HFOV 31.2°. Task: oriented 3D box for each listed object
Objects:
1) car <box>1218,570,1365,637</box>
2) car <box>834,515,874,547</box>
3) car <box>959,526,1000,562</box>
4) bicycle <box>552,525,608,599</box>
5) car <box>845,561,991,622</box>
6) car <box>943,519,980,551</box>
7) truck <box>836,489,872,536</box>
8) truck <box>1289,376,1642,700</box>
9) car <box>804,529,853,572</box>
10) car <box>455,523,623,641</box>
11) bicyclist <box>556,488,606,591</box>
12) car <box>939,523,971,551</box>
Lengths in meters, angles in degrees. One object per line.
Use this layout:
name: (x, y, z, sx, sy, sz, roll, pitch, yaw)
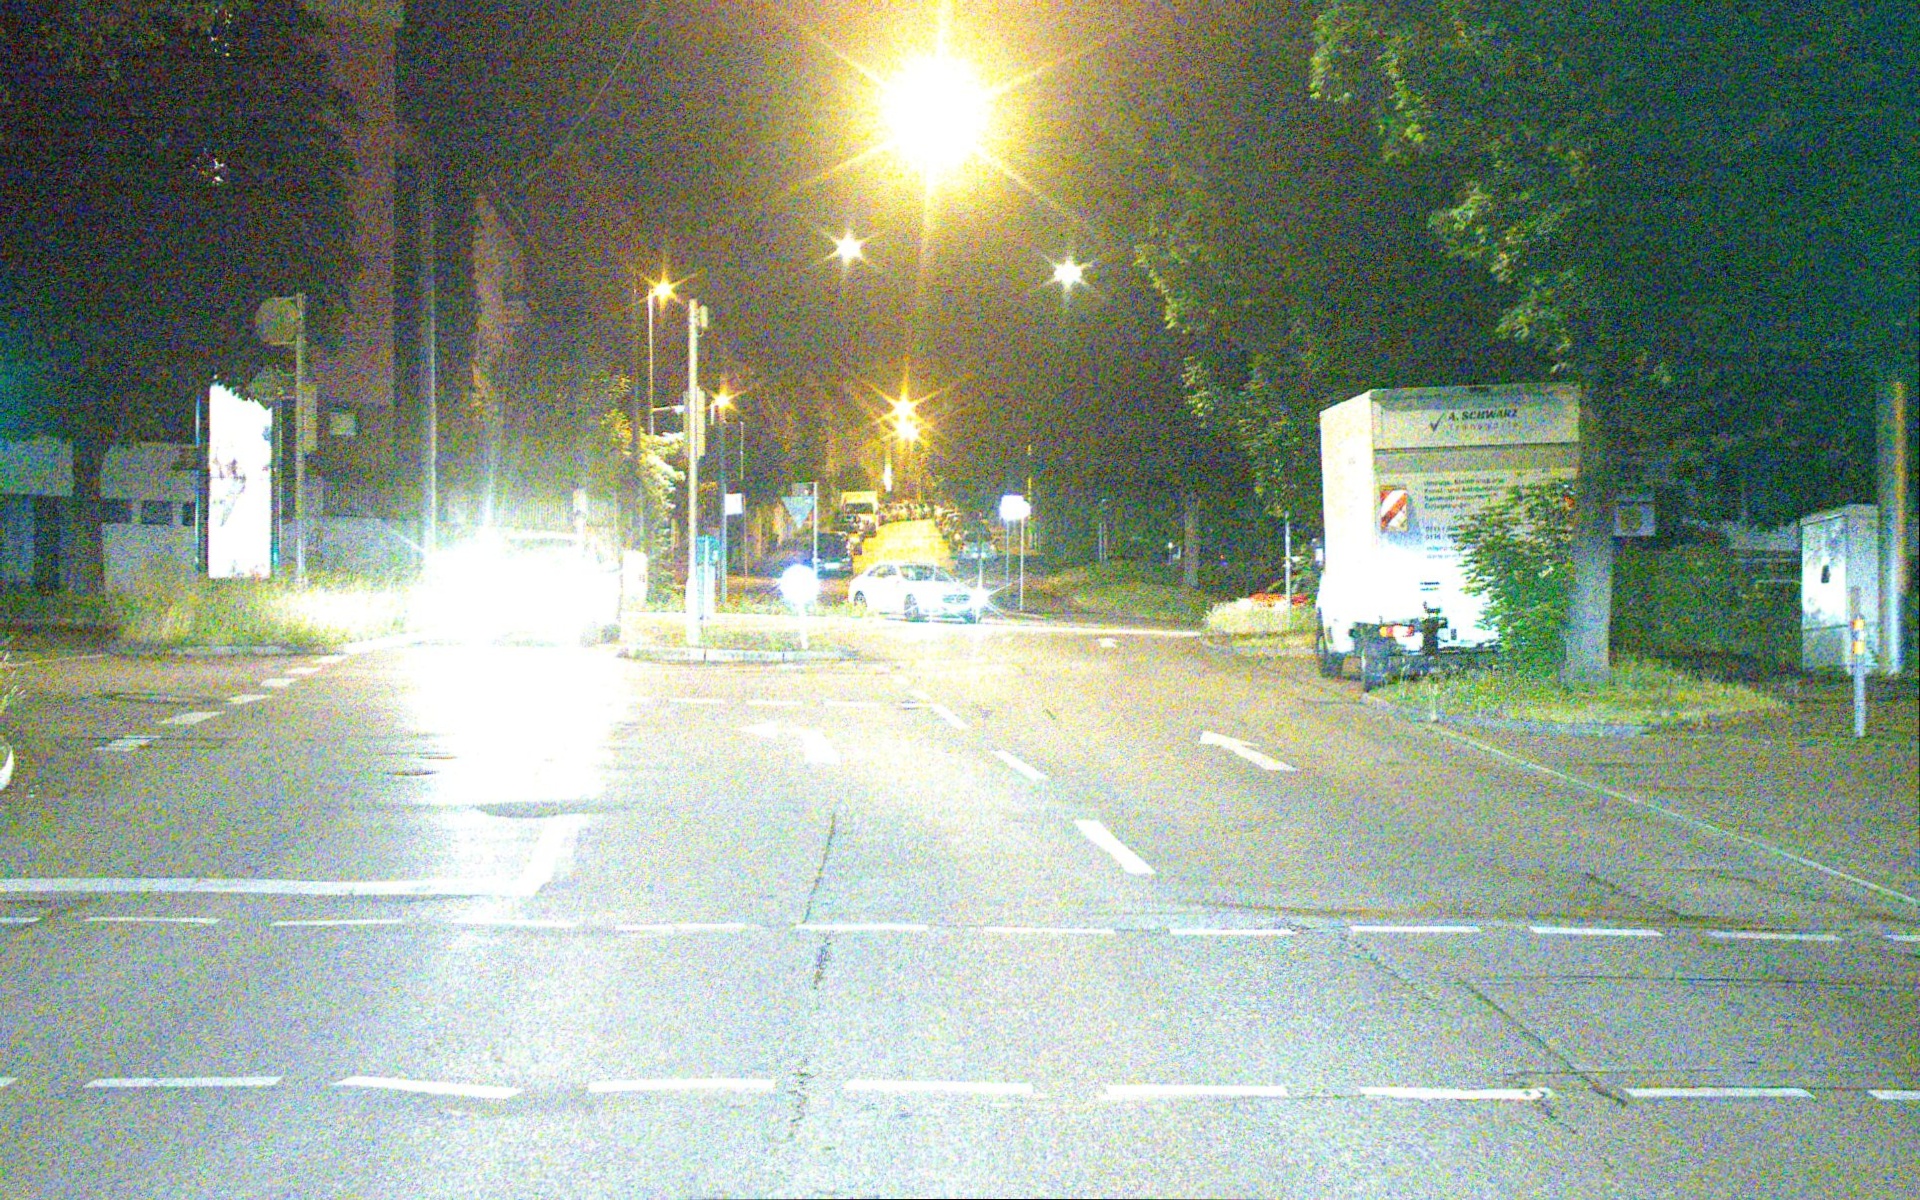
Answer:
car: (7.757, 0.070, 80.289, 3.387, 1.496, 1.586, -1, 2, -44)
car: (-5.035, -3.252, 162.486, 1.815, 1.486, 4.001, 1, 1, -2)
car: (0.808, -2.371, 145.289, 1.634, 1.447, 3.485, 1, 1, -1)
bicycle: (-6.084, -0.610, 55.138, 0.696, 1.145, 1.951, 1, 1, -1)
car: (-1.064, -0.220, 83.717, 1.916, 1.384, 4.584, 1, 1, -23)
car: (0.055, -3.046, 161.199, 1.634, 1.447, 3.485, 1, 1, -1)
truck: (-6.526, -5.363, 211.489, 2.086, 2.838, 5.832, 1, 1, -2)
truck: (5.195, -0.661, 36.440, 2.749, 3.100, 6.259, 1, 1, 0)
car: (-5.207, -1.979, 136.414, 1.815, 1.678, 4.000, 1, 1, -1)
car: (-5.740, -0.271, 47.319, 1.857, 1.529, 4.028, 1, 1, -1)
bicyclist: (-6.077, -0.968, 55.152, 0.690, 1.631, 0.896, 1, 0, -1)
car: (-0.287, -3.321, 180.441, 1.634, 1.447, 3.485, 1, 1, -1)
